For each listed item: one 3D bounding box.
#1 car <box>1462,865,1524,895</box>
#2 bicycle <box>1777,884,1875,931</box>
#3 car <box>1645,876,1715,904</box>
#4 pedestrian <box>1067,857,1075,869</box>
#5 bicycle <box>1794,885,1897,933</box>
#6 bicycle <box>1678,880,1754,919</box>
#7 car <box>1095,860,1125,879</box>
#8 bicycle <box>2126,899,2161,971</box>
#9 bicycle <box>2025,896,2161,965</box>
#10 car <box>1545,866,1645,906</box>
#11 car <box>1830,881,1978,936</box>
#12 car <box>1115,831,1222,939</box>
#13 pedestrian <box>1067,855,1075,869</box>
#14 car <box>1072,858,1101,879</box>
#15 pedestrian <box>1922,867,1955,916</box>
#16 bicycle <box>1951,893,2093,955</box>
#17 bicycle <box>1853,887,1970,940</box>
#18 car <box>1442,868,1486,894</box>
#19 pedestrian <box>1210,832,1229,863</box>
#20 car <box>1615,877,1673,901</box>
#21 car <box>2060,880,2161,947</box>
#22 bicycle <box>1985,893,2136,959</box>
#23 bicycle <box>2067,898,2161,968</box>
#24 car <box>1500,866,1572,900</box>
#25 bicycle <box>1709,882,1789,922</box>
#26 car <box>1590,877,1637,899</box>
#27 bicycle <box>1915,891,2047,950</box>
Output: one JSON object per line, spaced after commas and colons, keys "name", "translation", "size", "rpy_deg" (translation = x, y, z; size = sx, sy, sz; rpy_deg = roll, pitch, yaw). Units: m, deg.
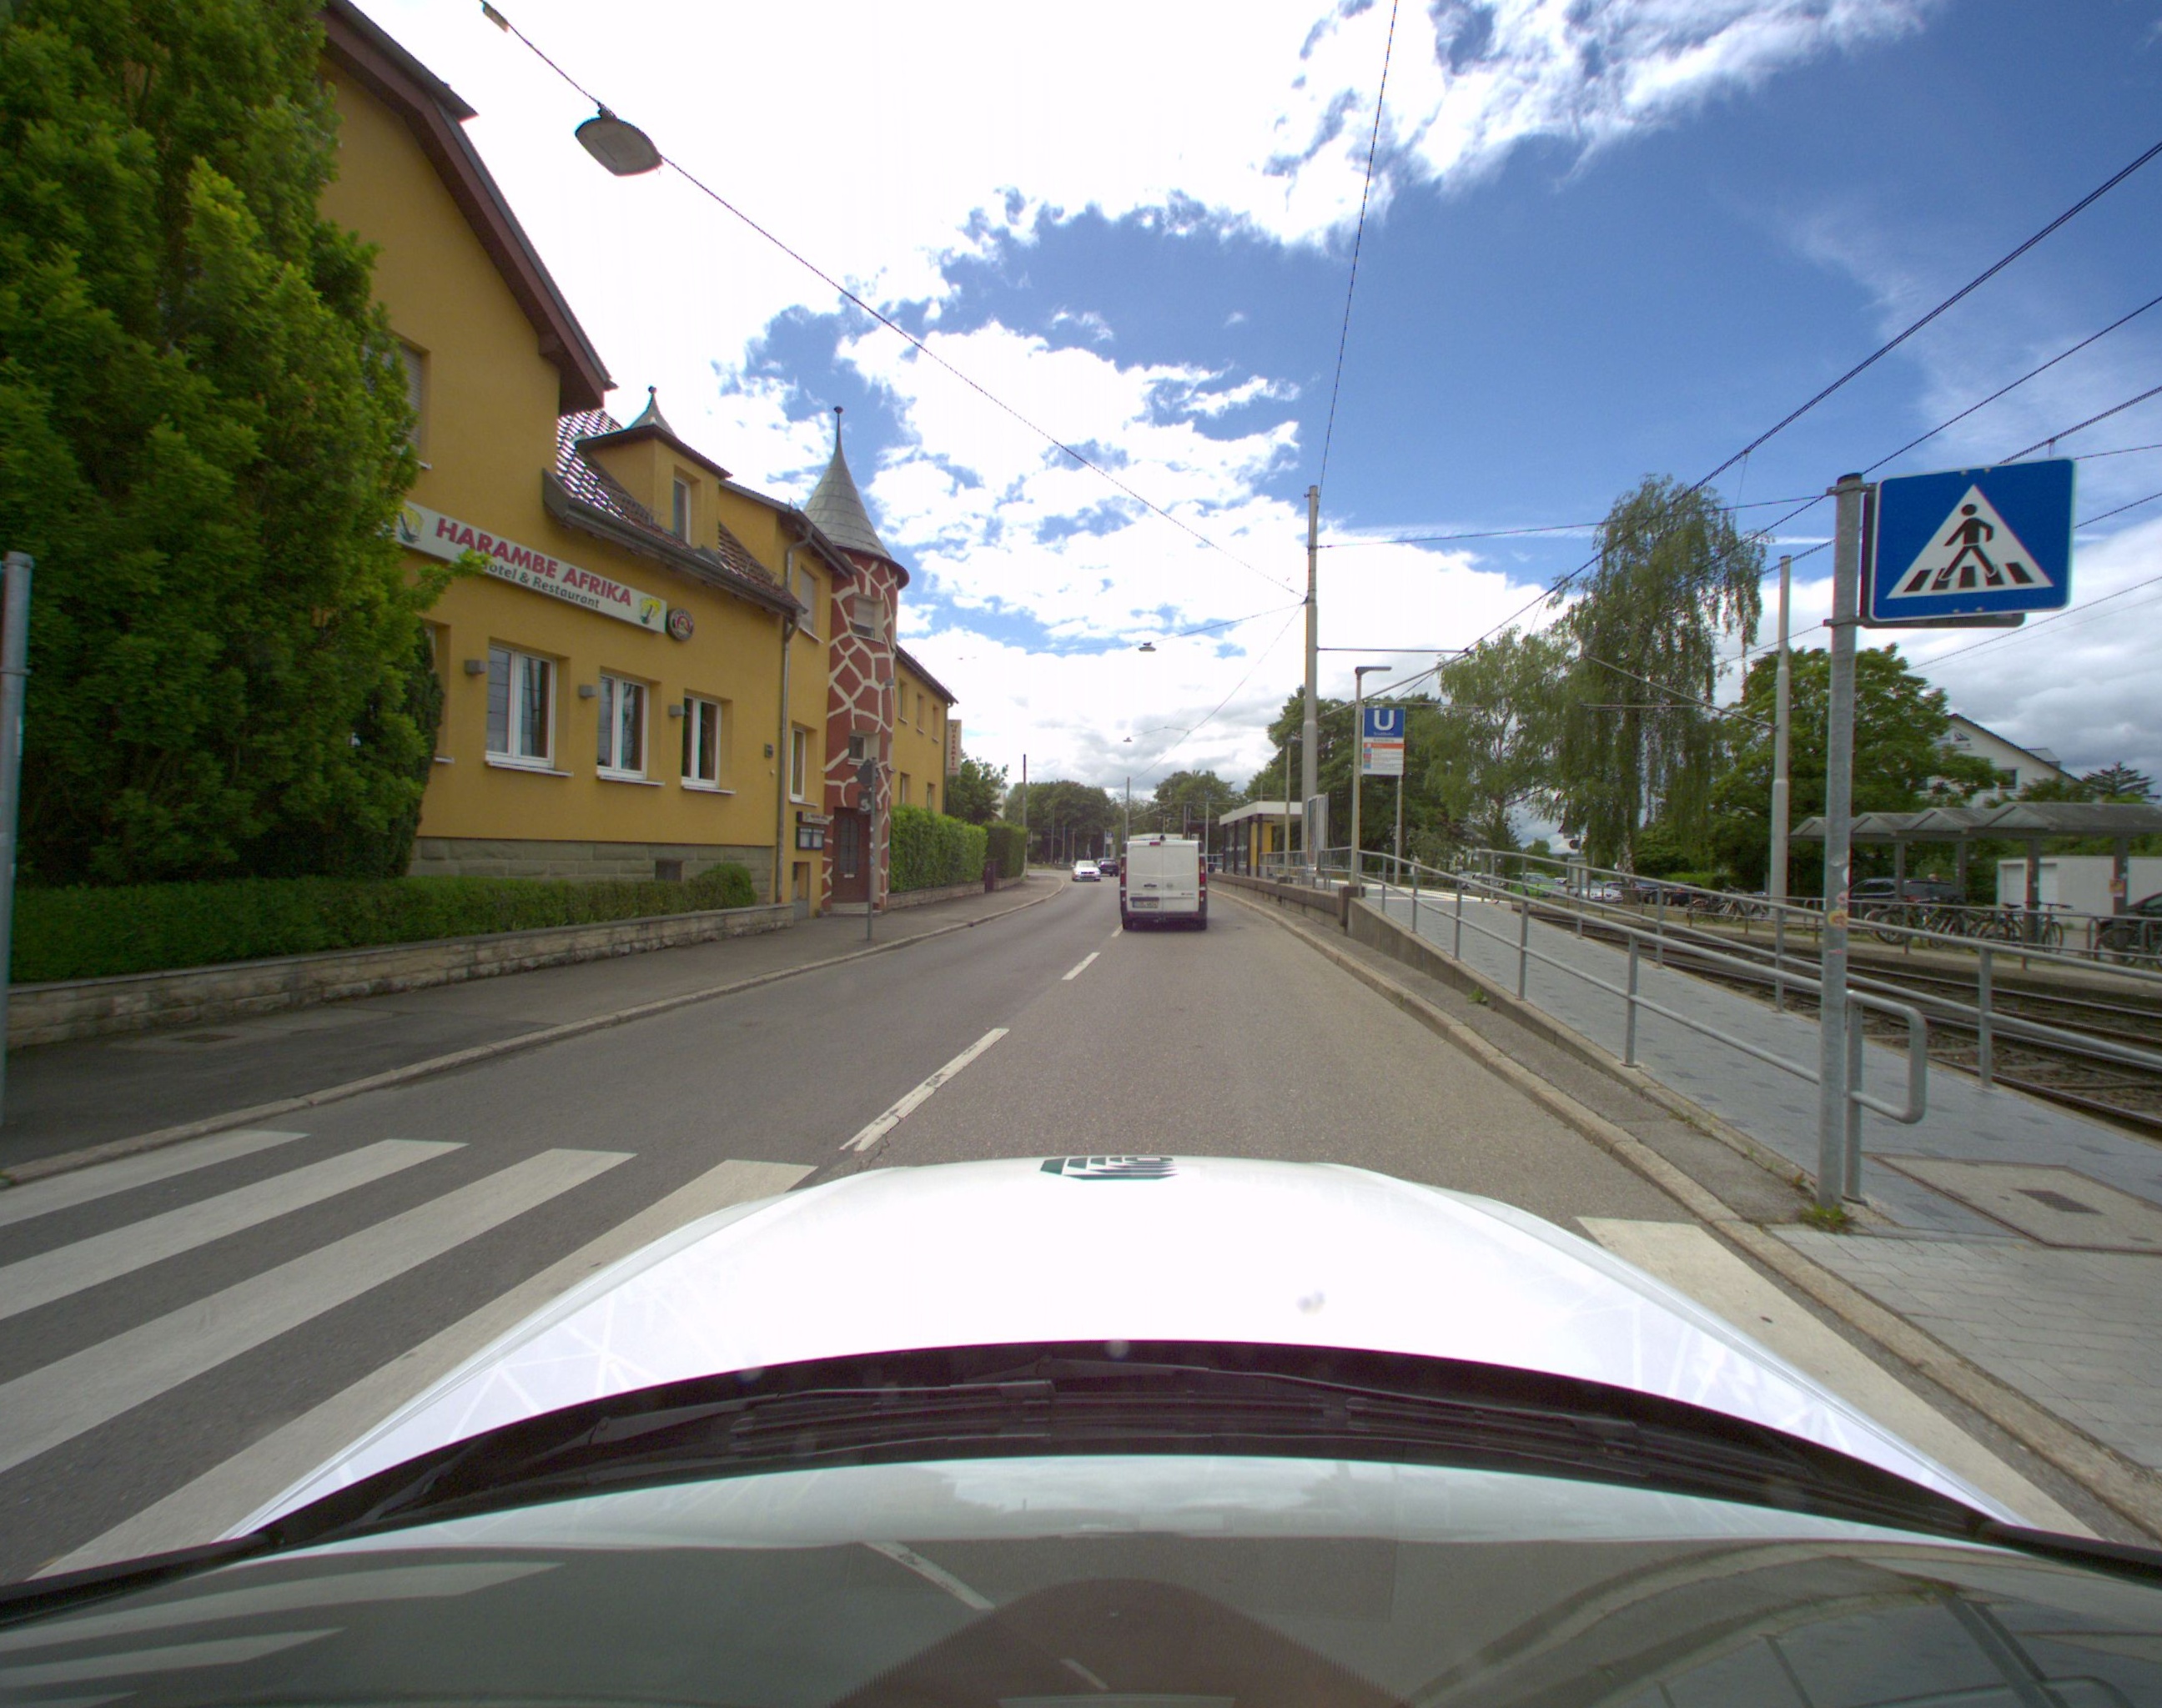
{"name": "car", "translation": [23.692, 1.443, 46.965], "size": [1.748, 1.574, 4.105], "rpy_deg": [1, 0, 5]}
{"name": "bicycle", "translation": [18.328, 1.305, 20.059], "size": [1.754, 1.042, 0.558], "rpy_deg": [2, -1, 11]}
{"name": "car", "translation": [34.513, 2.047, 47.054], "size": [1.743, 1.488, 4.950], "rpy_deg": [1, -1, 17]}
{"name": "pedestrian", "translation": [-1.299, 1.139, 102.286], "size": [0.764, 1.492, 0.624], "rpy_deg": [1, -1, -33]}
{"name": "bicycle", "translation": [18.183, 1.309, 19.400], "size": [1.754, 1.042, 0.558], "rpy_deg": [2, -1, 11]}
{"name": "bicycle", "translation": [18.241, 1.314, 23.408], "size": [1.759, 1.042, 0.557], "rpy_deg": [2, -1, 0]}
{"name": "car", "translation": [2.553, 1.411, 73.393], "size": [2.349, 1.564, 4.369], "rpy_deg": [3, -1, -2]}
{"name": "bicycle", "translation": [16.765, 1.225, 12.002], "size": [1.754, 1.042, 0.558], "rpy_deg": [2, -1, 11]}
{"name": "bicycle", "translation": [17.077, 1.273, 13.598], "size": [1.754, 1.042, 0.558], "rpy_deg": [2, -1, 11]}
{"name": "car", "translation": [22.961, 1.390, 36.580], "size": [2.054, 1.574, 4.266], "rpy_deg": [1, 0, 5]}
{"name": "car", "translation": [29.051, 1.861, 28.985], "size": [1.800, 1.636, 4.863], "rpy_deg": [1, 0, 20]}
{"name": "car", "translation": [2.124, 0.656, 19.406], "size": [2.105, 2.134, 5.451], "rpy_deg": [2, 0, 7]}
{"name": "pedestrian", "translation": [-1.326, 1.016, 104.008], "size": [0.764, 1.795, 0.624], "rpy_deg": [1, -1, -33]}
{"name": "car", "translation": [0.347, 1.013, 57.462], "size": [1.814, 1.419, 4.459], "rpy_deg": [-1, -1, -3]}
{"name": "pedestrian", "translation": [31.737, 1.387, 30.155], "size": [0.817, 1.771, 0.688], "rpy_deg": [1, -1, 45]}
{"name": "bicycle", "translation": [17.448, 1.289, 15.131], "size": [1.754, 1.042, 0.558], "rpy_deg": [2, -1, 11]}
{"name": "bicycle", "translation": [17.902, 1.268, 17.582], "size": [1.754, 1.042, 0.558], "rpy_deg": [2, -1, 11]}
{"name": "car", "translation": [24.480, 1.689, 52.144], "size": [1.827, 1.488, 4.520], "rpy_deg": [1, 0, 16]}
{"name": "pedestrian", "translation": [7.710, -0.370, 45.330], "size": [0.883, 1.671, 0.910], "rpy_deg": [1, -1, 1]}
{"name": "car", "translation": [36.216, 2.229, 52.530], "size": [1.743, 1.488, 4.717], "rpy_deg": [1, -1, 17]}
{"name": "car", "translation": [25.707, 1.414, 18.812], "size": [1.801, 1.486, 4.441], "rpy_deg": [1, 0, 17]}
{"name": "bicycle", "translation": [17.314, 1.256, 14.429], "size": [1.754, 1.042, 0.558], "rpy_deg": [2, -1, 11]}
{"name": "bicycle", "translation": [16.938, 1.259, 12.891], "size": [1.754, 1.042, 0.558], "rpy_deg": [2, -1, 11]}
{"name": "car", "translation": [23.371, 1.443, 41.948], "size": [1.722, 1.574, 4.005], "rpy_deg": [1, 0, 5]}
{"name": "bicycle", "translation": [18.539, 1.323, 22.626], "size": [1.758, 1.042, 0.557], "rpy_deg": [2, -1, 1]}
{"name": "car", "translation": [37.926, 2.406, 58.089], "size": [1.743, 1.488, 3.916], "rpy_deg": [1, -1, 16]}
{"name": "bicycle", "translation": [17.658, 1.295, 16.010], "size": [1.754, 1.042, 0.558], "rpy_deg": [2, -1, 11]}
